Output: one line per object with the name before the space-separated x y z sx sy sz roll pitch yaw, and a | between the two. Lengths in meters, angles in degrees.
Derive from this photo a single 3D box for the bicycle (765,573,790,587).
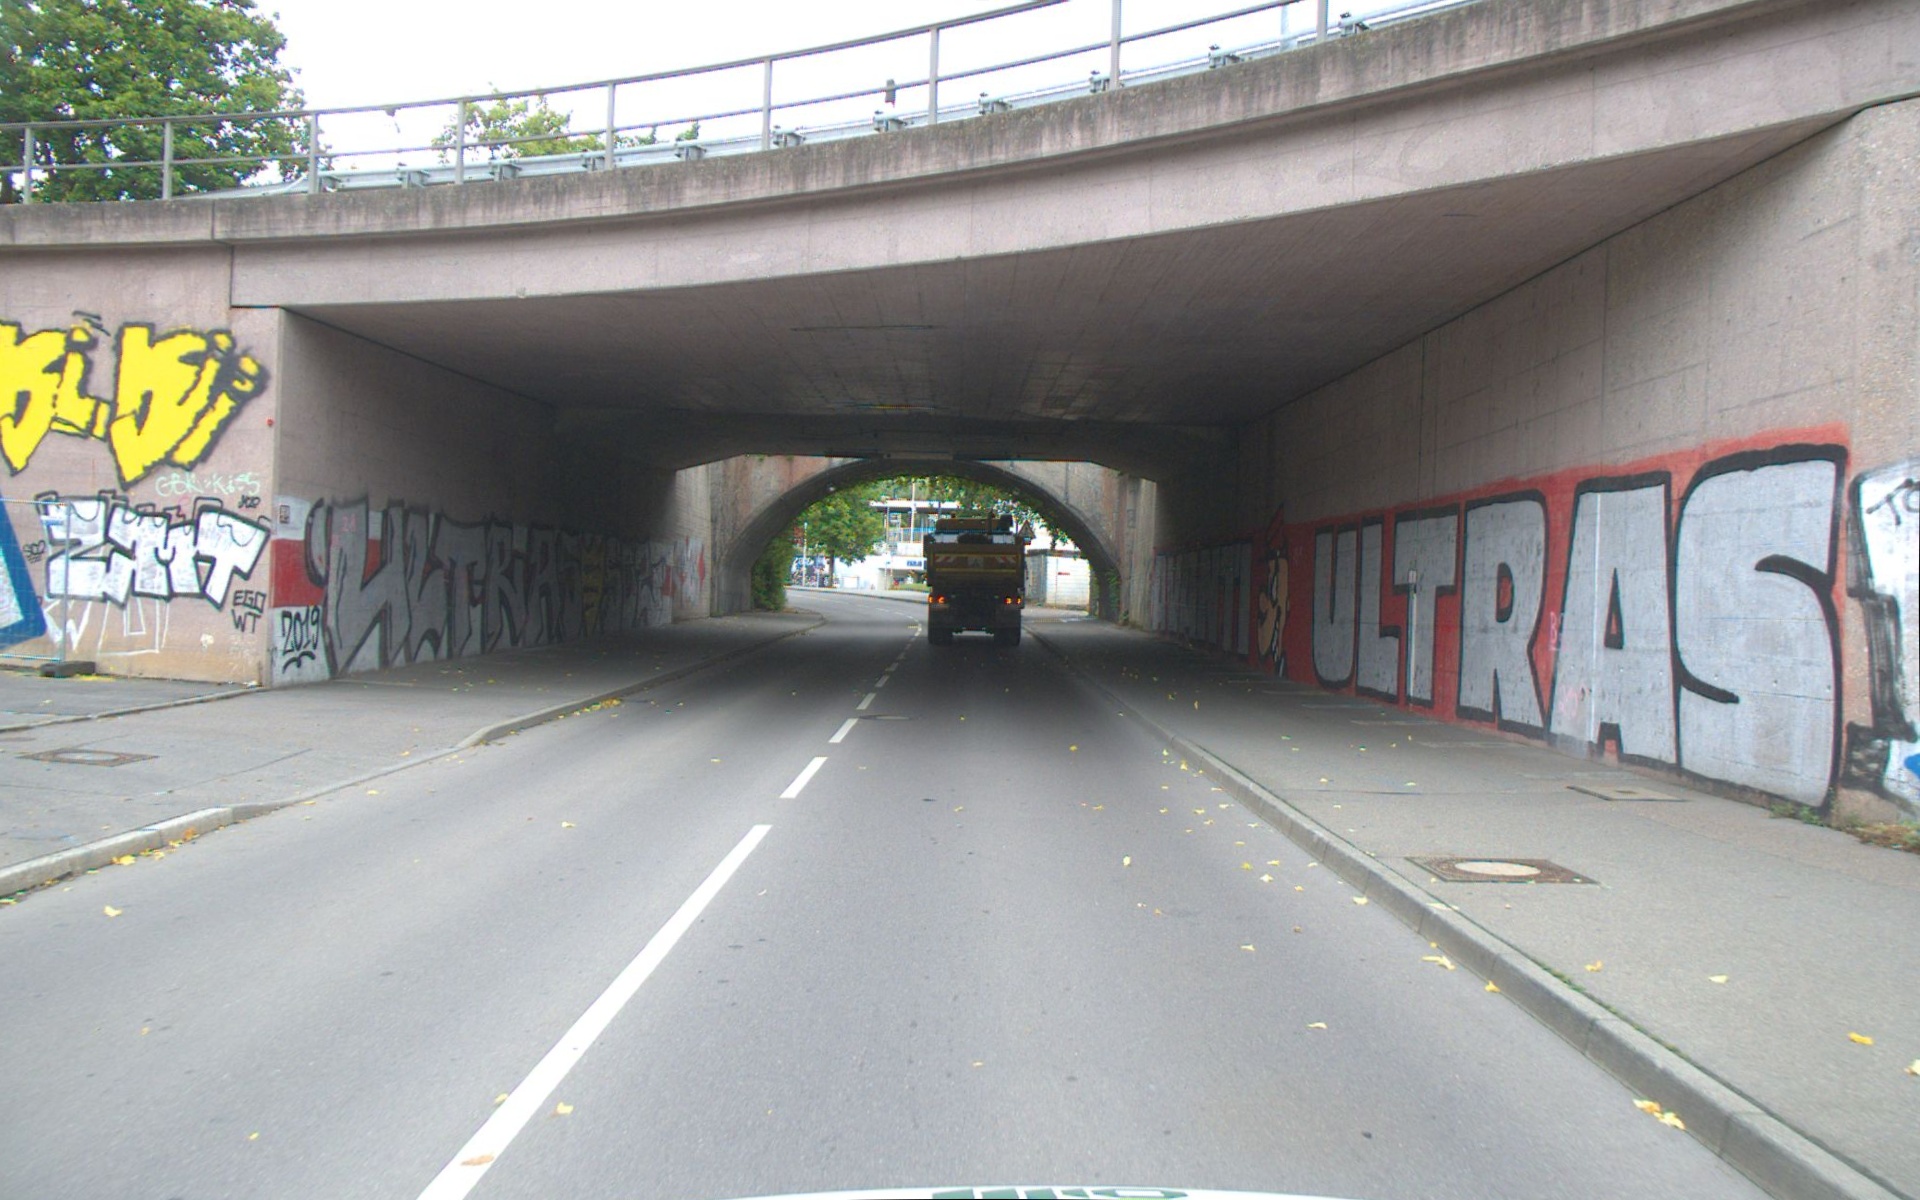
bicycle | -14.520 -1.598 131.695 1.953 0.880 0.504 7 -2 -40

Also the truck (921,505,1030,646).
truck | 0.528 -0.748 45.802 2.707 3.544 8.132 0 2 2
